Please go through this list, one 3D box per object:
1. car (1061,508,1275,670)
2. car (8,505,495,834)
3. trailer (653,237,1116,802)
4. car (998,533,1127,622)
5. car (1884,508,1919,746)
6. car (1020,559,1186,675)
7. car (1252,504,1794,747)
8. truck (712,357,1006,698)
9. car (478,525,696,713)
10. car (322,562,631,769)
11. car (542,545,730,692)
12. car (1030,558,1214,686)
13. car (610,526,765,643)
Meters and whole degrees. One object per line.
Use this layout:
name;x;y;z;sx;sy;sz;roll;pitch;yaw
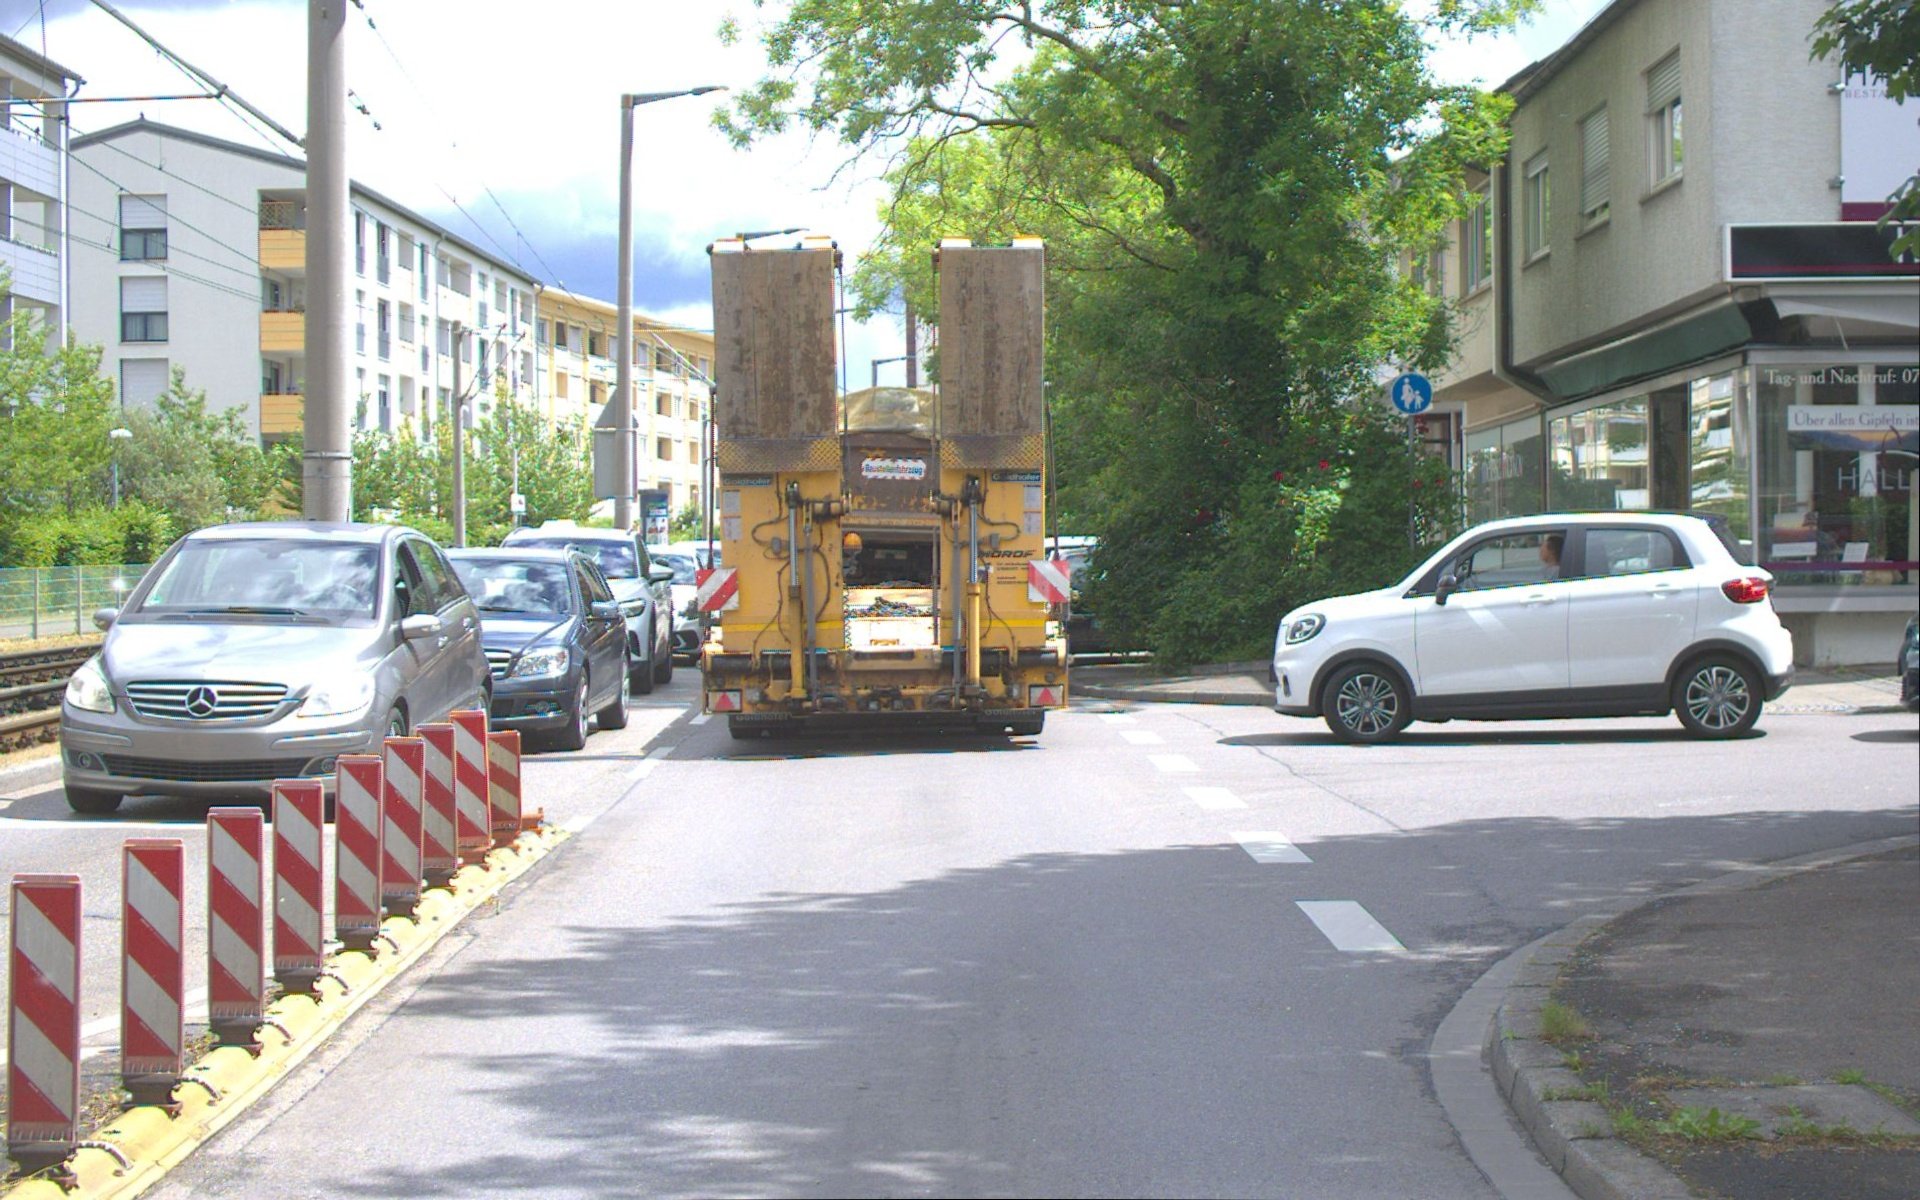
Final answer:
car;2.251;-0.169;38.225;1.993;1.612;4.001;-2;2;-1
car;-3.925;0.340;19.753;1.802;1.646;4.131;-2;0;2
trailer;-0.853;-0.755;29.219;3.050;3.759;11.615;-2;2;-3
car;1.762;-0.427;60.313;1.993;1.382;4.001;-2;2;-1
car;8.100;0.122;22.853;3.700;1.517;1.999;-1;2;17
car;1.934;0.204;47.545;1.993;1.382;4.001;-2;2;-1
car;3.984;0.171;24.317;3.600;1.579;1.999;-1;1;11
truck;-1.242;-0.867;38.284;2.833;3.318;7.986;-2;2;-3
car;-3.659;0.165;34.300;1.602;1.726;3.938;-2;0;2
car;-3.504;0.434;25.534;1.602;1.376;3.956;-2;0;2
car;-3.934;0.185;42.356;1.993;1.588;3.891;-2;2;-1
car;1.987;0.240;43.239;1.993;1.382;4.001;-2;2;-1
car;-3.903;-0.253;49.798;1.993;1.515;3.891;-2;2;-1
